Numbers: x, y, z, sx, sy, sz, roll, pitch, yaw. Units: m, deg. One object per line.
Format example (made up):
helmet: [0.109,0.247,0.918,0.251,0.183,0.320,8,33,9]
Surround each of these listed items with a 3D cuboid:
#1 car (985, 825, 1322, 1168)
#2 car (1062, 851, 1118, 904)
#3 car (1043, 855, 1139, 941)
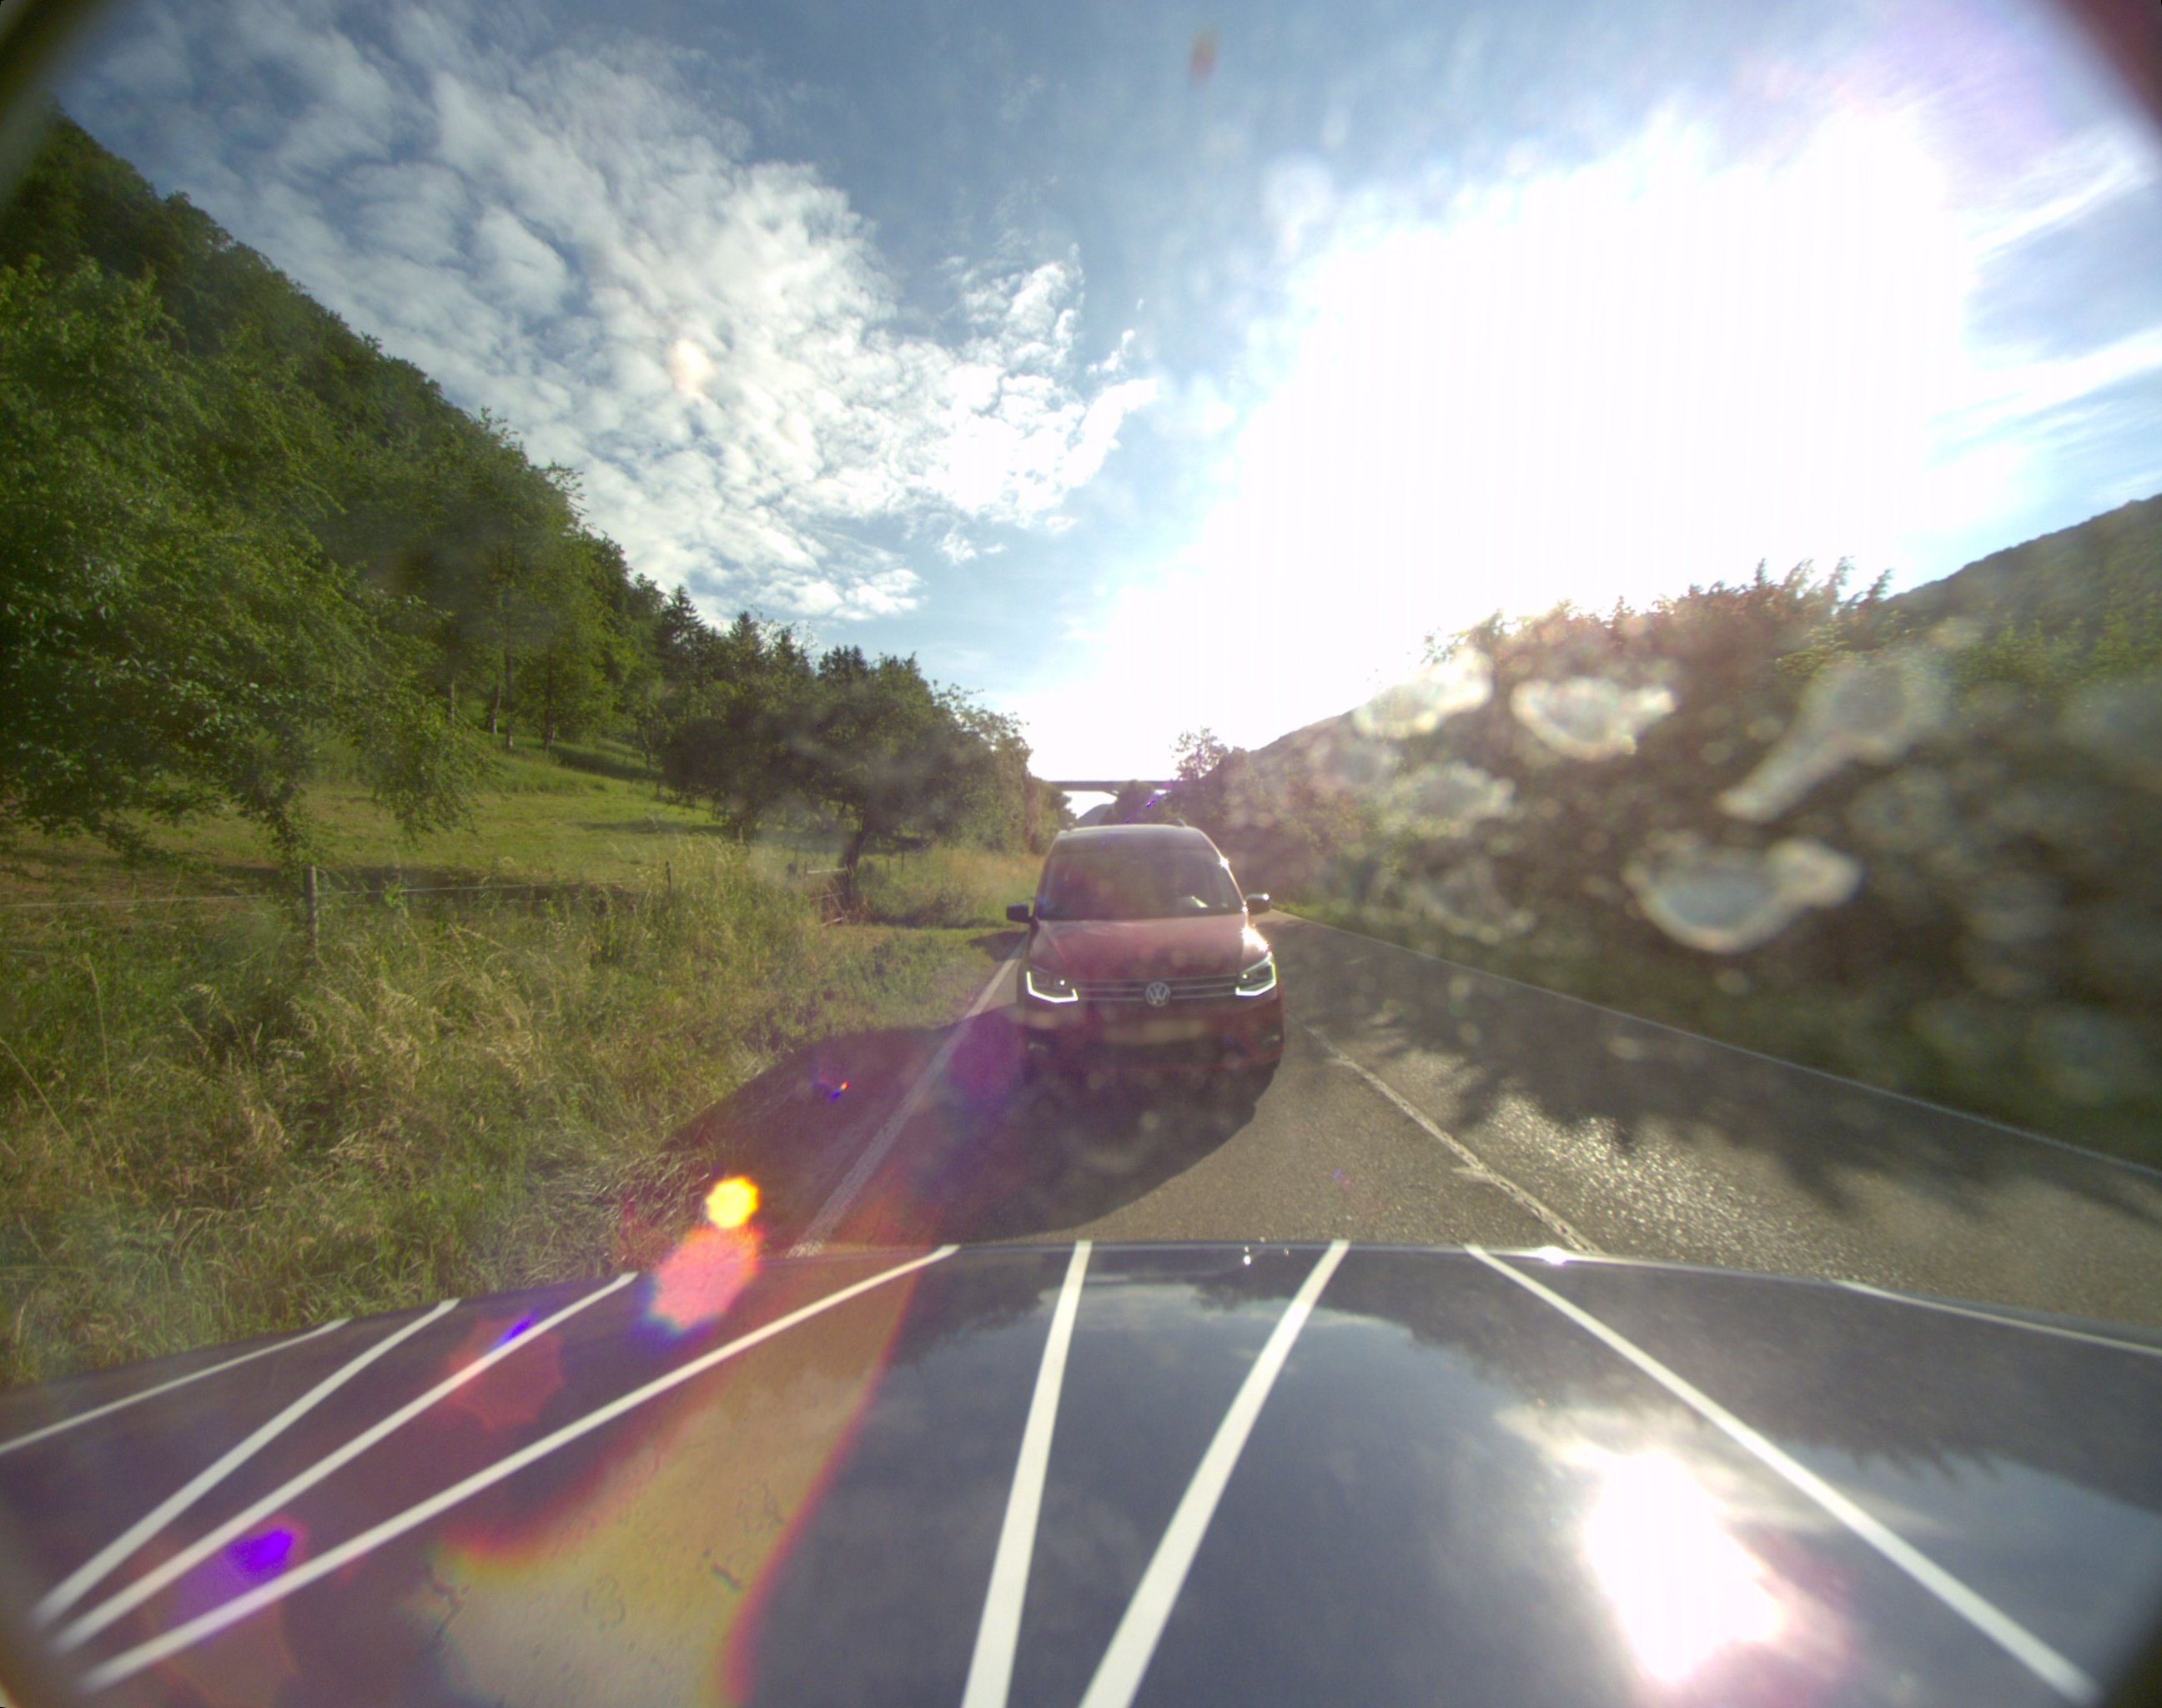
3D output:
car: [0.433,0.769,6.323,1.753,1.799,4.288,-3,1,1]
car: [0.316,0.759,27.106,1.753,1.608,4.288,-3,1,1]
car: [0.215,0.844,16.730,1.753,1.513,4.288,-3,1,1]
